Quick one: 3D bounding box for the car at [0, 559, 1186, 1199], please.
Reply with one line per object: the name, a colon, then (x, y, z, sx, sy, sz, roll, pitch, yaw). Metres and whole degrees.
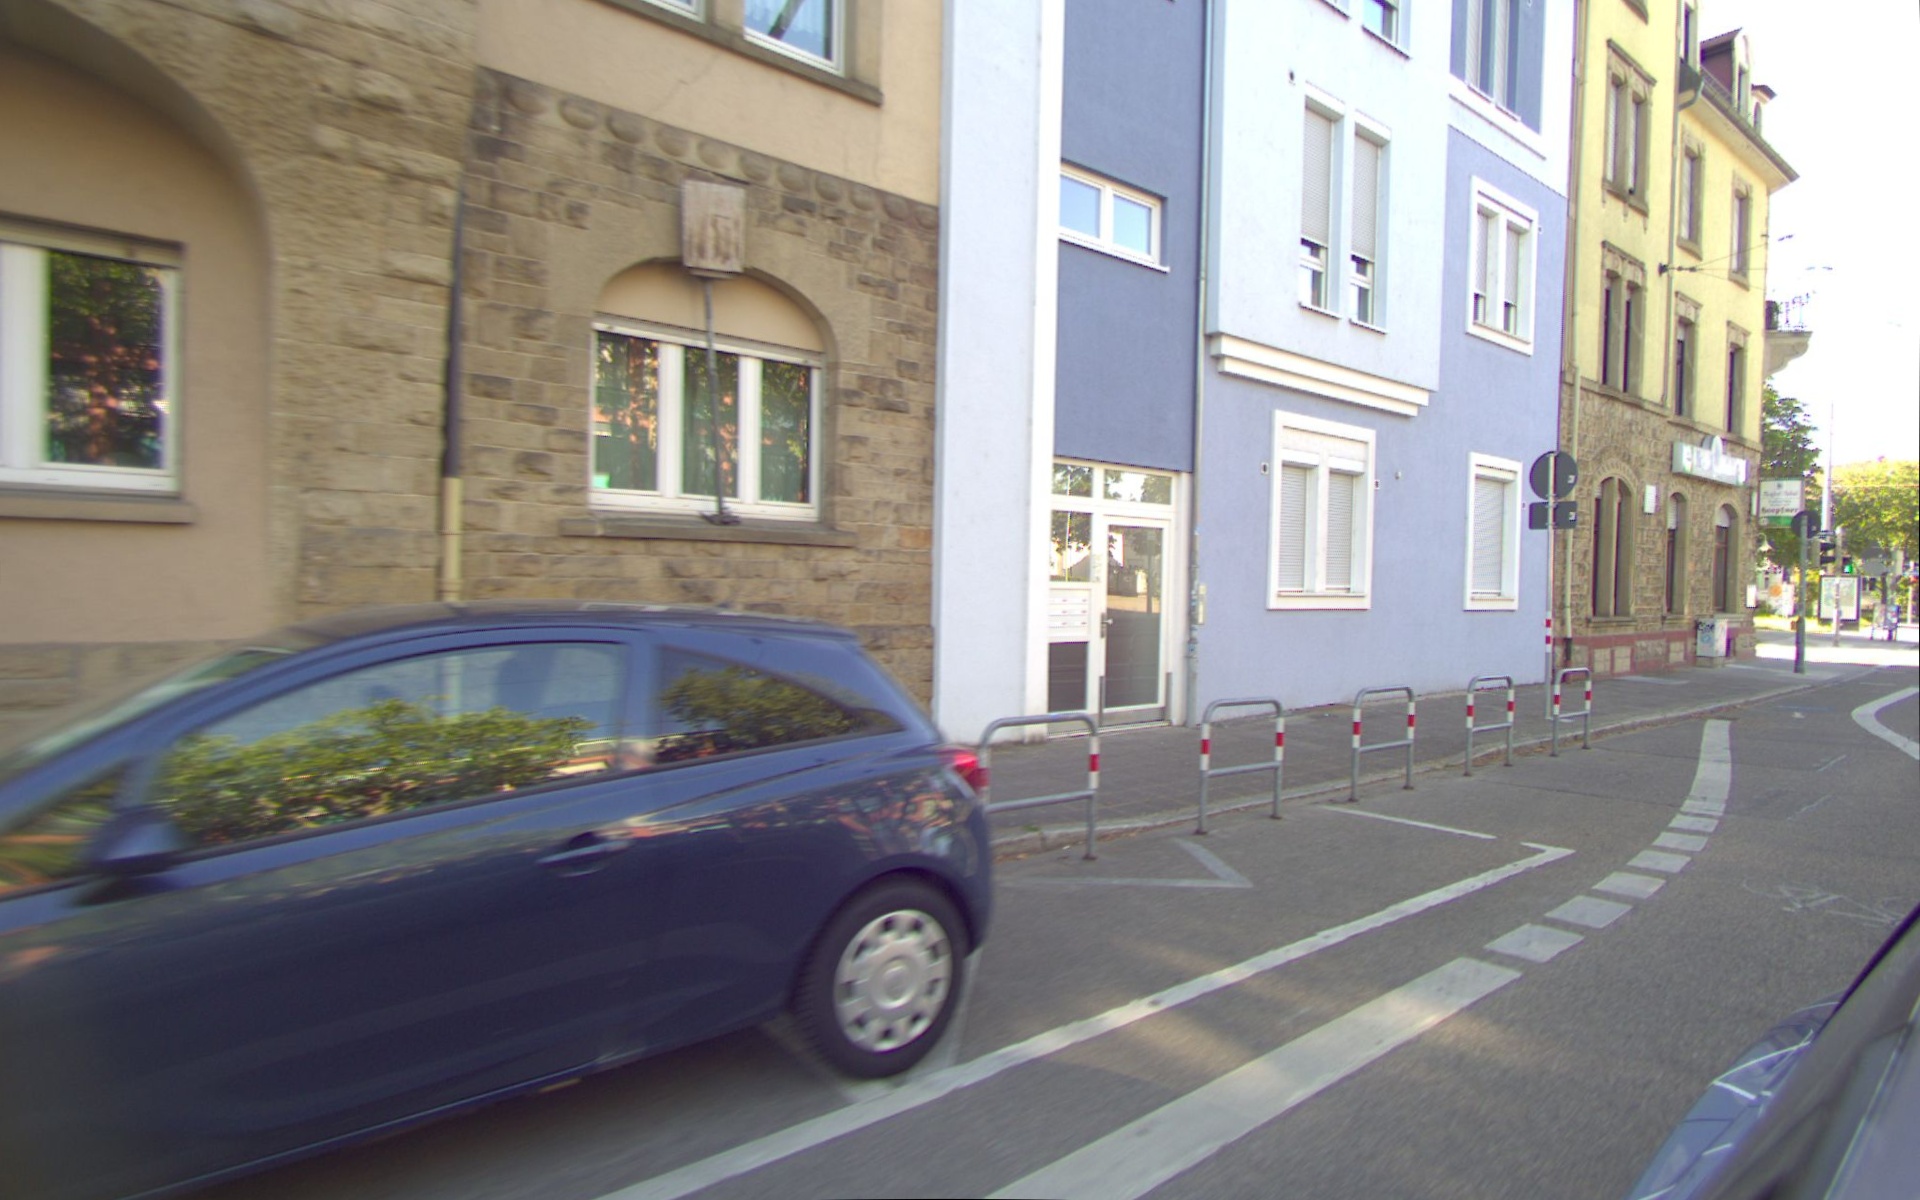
car: (-1.219, 0.660, 3.156, 3.927, 1.501, 1.659, 0, 1, -39)
